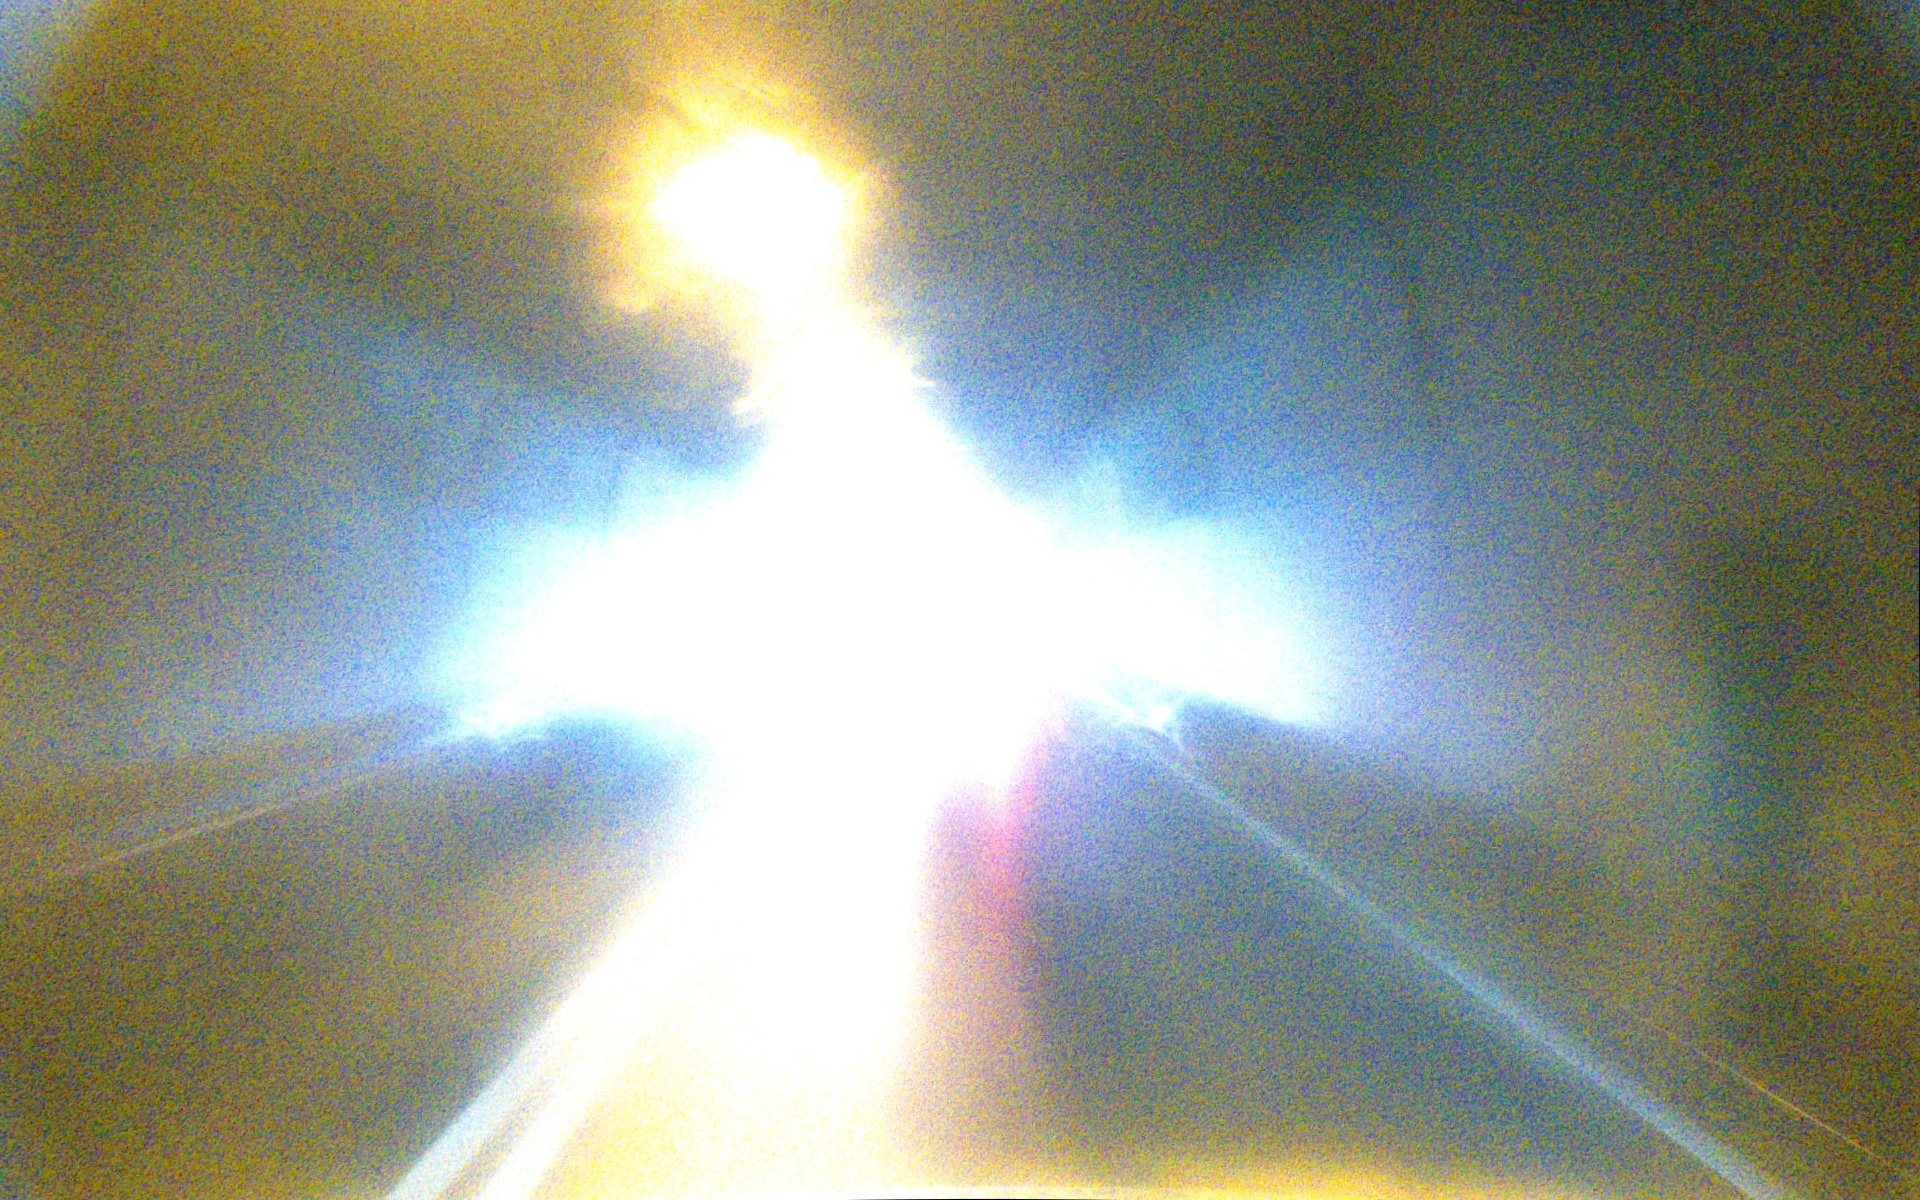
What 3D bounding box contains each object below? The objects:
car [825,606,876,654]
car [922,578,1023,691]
[{"bbox_3d":[-4.010,1.080,60.897,1.602,1.630,4.146,0,1,0],"label":"car"},{"bbox_3d":[0.200,0.520,28.552,1.602,1.788,4.146,0,1,0],"label":"car"}]
